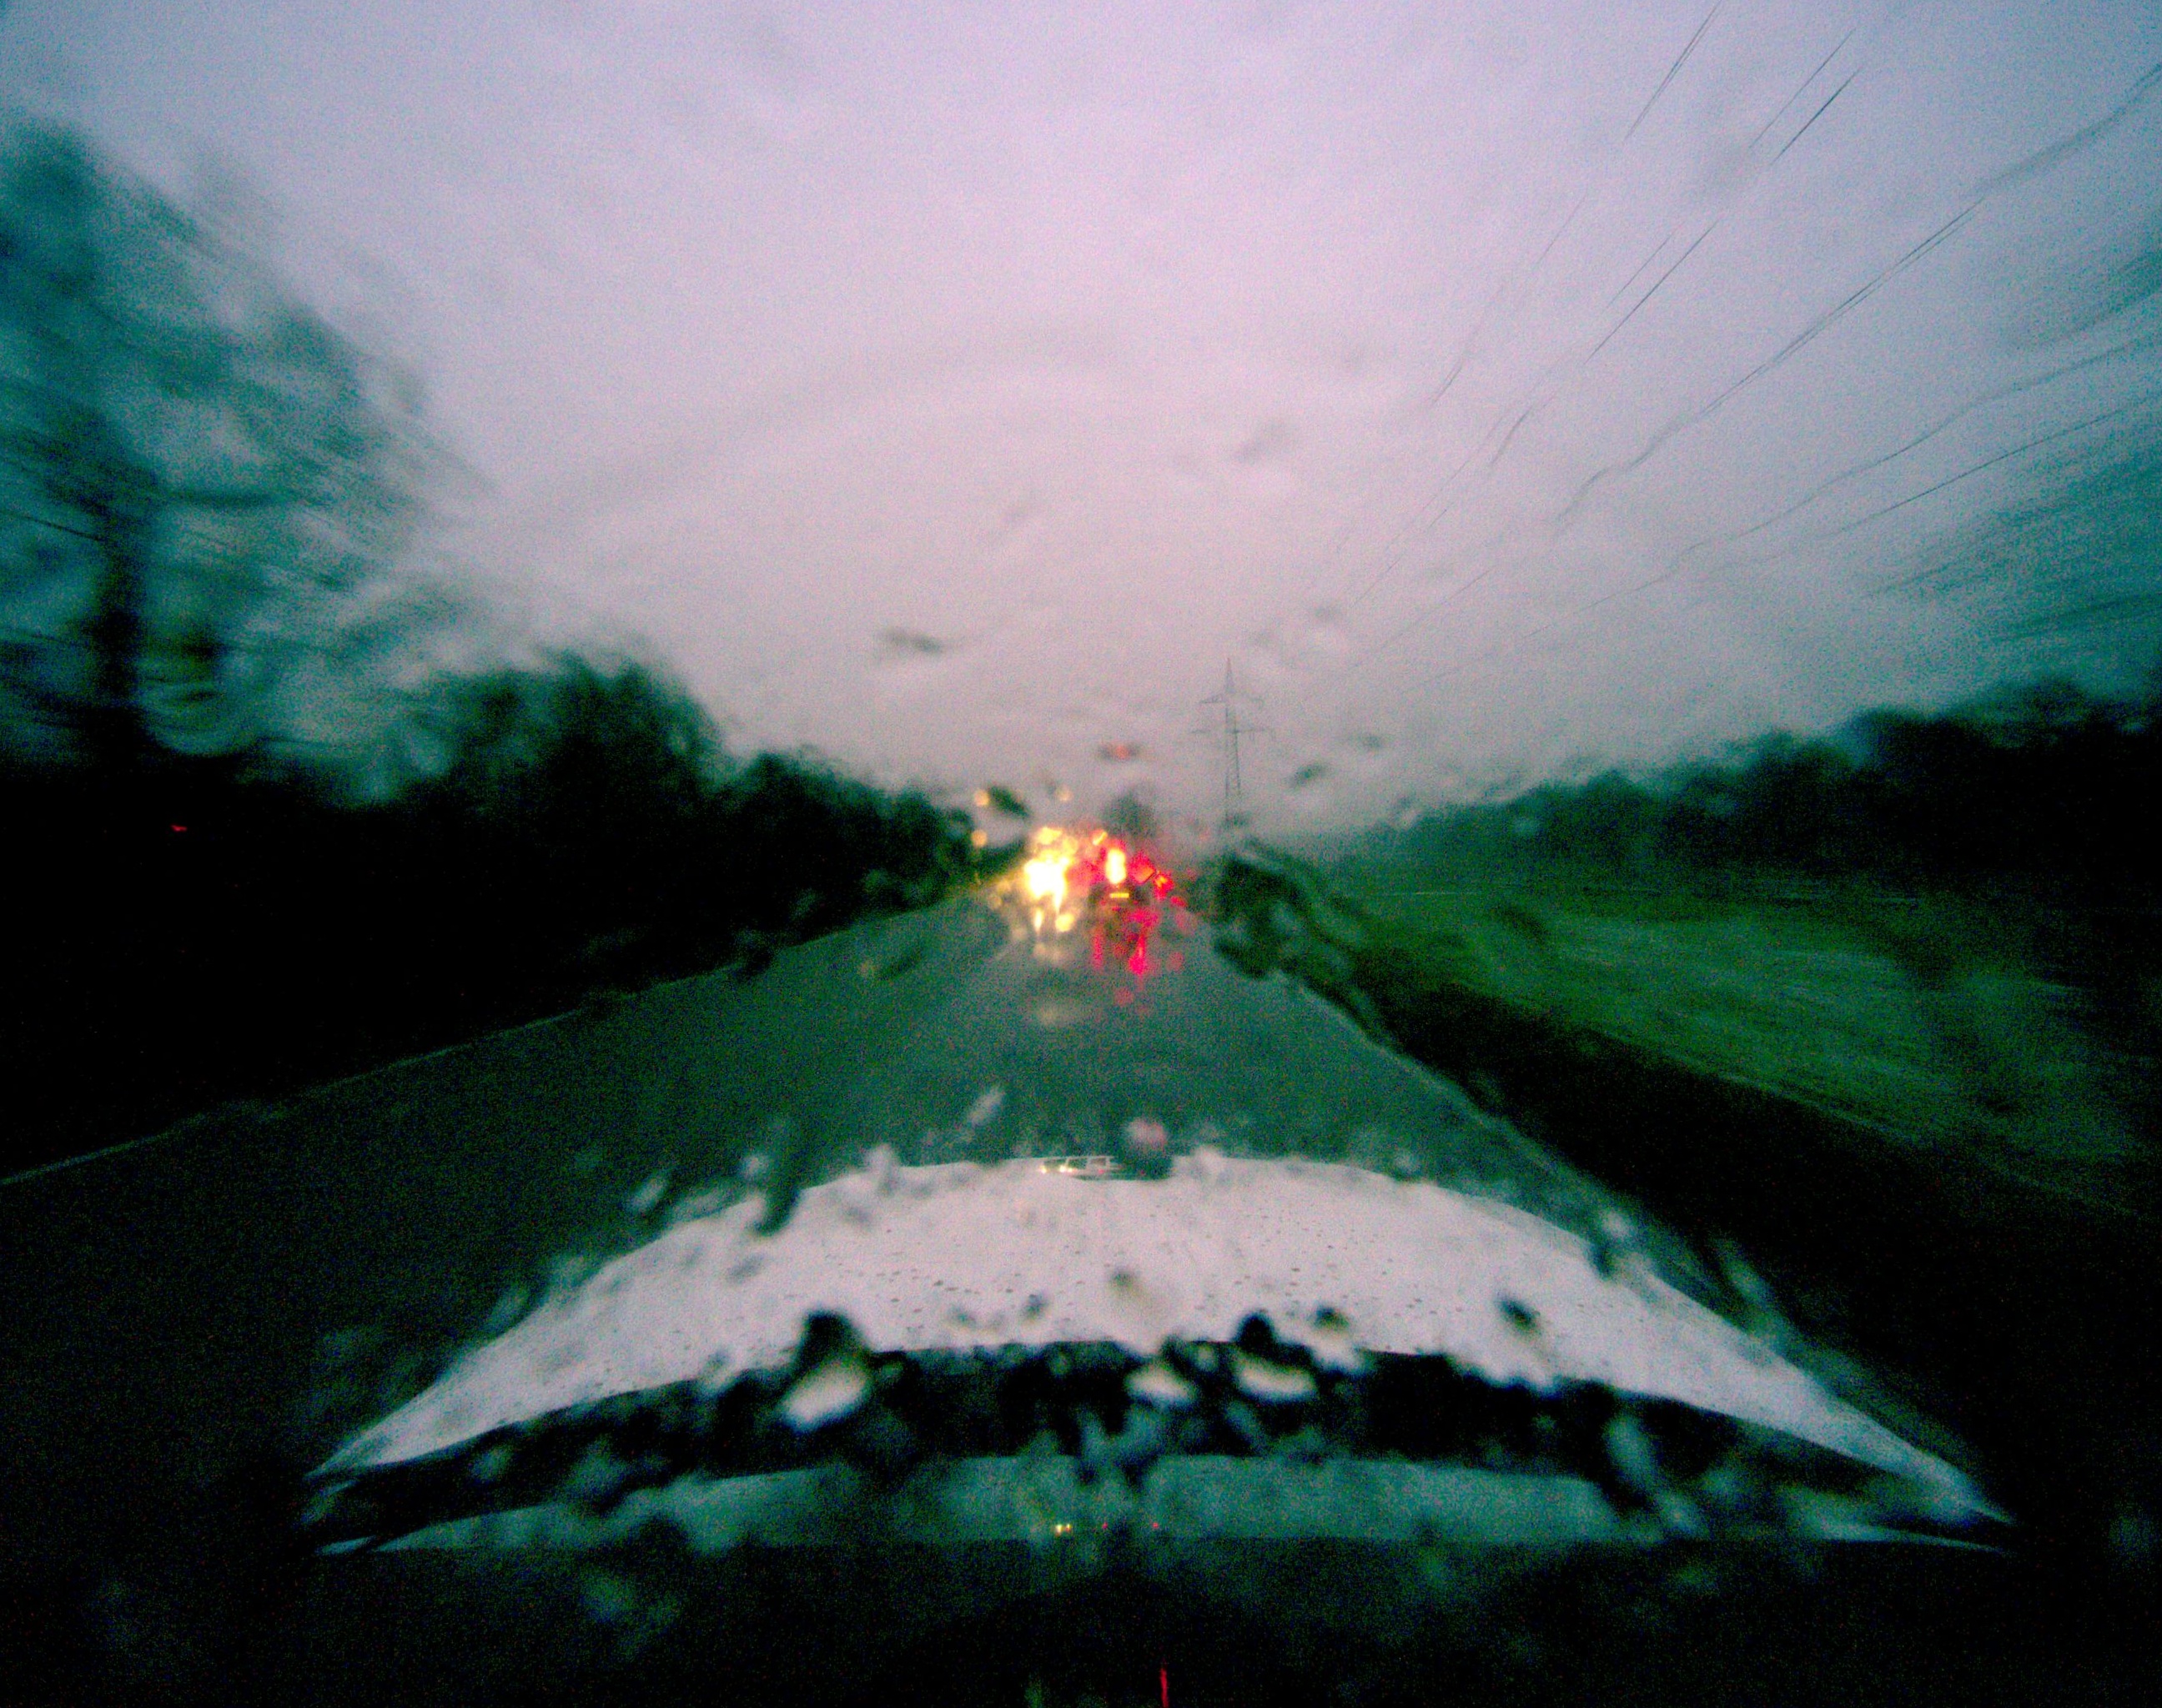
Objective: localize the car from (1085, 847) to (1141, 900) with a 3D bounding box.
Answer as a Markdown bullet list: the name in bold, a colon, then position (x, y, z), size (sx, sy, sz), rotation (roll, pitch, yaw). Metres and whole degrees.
- **car**: position (0.909, 0.536, 23.618), size (1.495, 1.398, 3.200), rotation (-1, 0, 1)

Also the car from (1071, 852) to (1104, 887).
- **car**: position (0.425, 0.914, 48.725), size (1.845, 2.014, 4.001), rotation (-1, 0, 1)

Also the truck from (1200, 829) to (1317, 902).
- **truck**: position (7.111, 0.452, 34.422), size (2.496, 2.571, 10.801), rotation (-1, 0, -1)

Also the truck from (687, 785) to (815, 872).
- **truck**: position (-26.754, -1.819, 67.521), size (3.749, 6.288, 15.745), rotation (-1, 0, 2)

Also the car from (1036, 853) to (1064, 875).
- **car**: position (-2.200, 0.714, 58.527), size (1.682, 1.507, 4.414), rotation (-1, 0, 1)
